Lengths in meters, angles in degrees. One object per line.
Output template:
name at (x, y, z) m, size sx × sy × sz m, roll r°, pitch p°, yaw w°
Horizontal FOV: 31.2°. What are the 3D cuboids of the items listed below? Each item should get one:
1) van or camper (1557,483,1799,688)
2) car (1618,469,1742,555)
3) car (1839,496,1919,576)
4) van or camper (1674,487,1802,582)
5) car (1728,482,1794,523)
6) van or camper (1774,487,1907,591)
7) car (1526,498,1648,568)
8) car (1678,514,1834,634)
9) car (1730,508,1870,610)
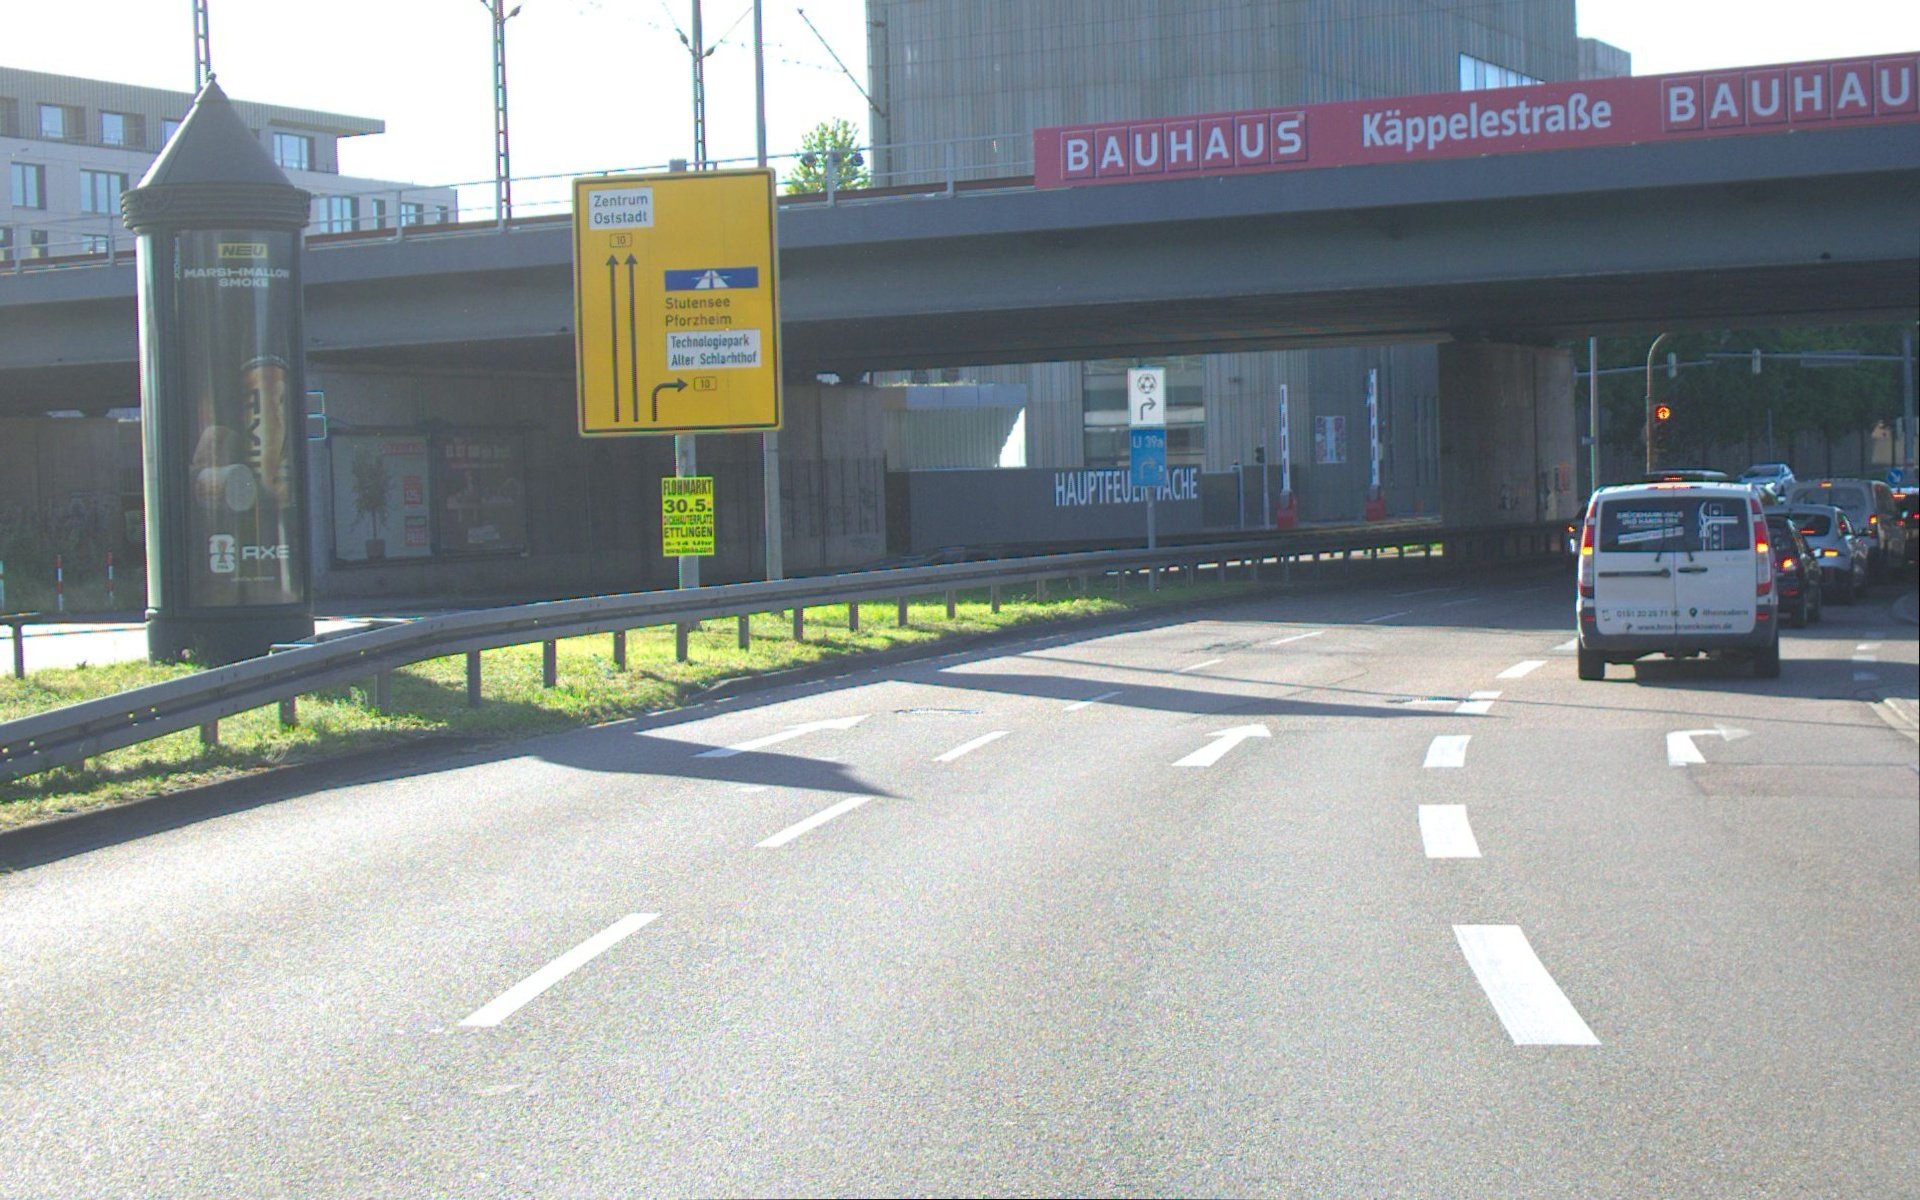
van or camper at (7.247, -0.199, 34.341) m, size 1.960 × 1.877 × 4.876 m, roll -1°, pitch 1°, yaw 16°
car at (16.843, -2.064, 80.252) m, size 1.868 × 1.940 × 4.590 m, roll 0°, pitch 2°, yaw 24°
car at (18.382, -1.271, 67.149) m, size 1.710 × 1.517 × 3.738 m, roll 0°, pitch 2°, yaw 24°
van or camper at (15.385, -1.305, 67.825) m, size 1.756 × 1.807 × 3.954 m, roll 0°, pitch 2°, yaw 23°
car at (32.672, -3.988, 140.226) m, size 1.785 × 1.639 × 4.196 m, roll 1°, pitch 2°, yaw 25°
van or camper at (15.739, -1.118, 61.322) m, size 1.827 × 1.785 × 4.540 m, roll 0°, pitch 2°, yaw 20°
car at (13.422, -1.446, 73.468) m, size 1.710 × 1.447 × 3.738 m, roll 0°, pitch 2°, yaw 24°
car at (10.384, -0.374, 44.704) m, size 1.606 × 1.429 × 3.675 m, roll 1°, pitch 3°, yaw 19°
car at (12.914, -0.653, 52.694) m, size 1.765 × 1.470 × 4.285 m, roll -1°, pitch 1°, yaw 18°
